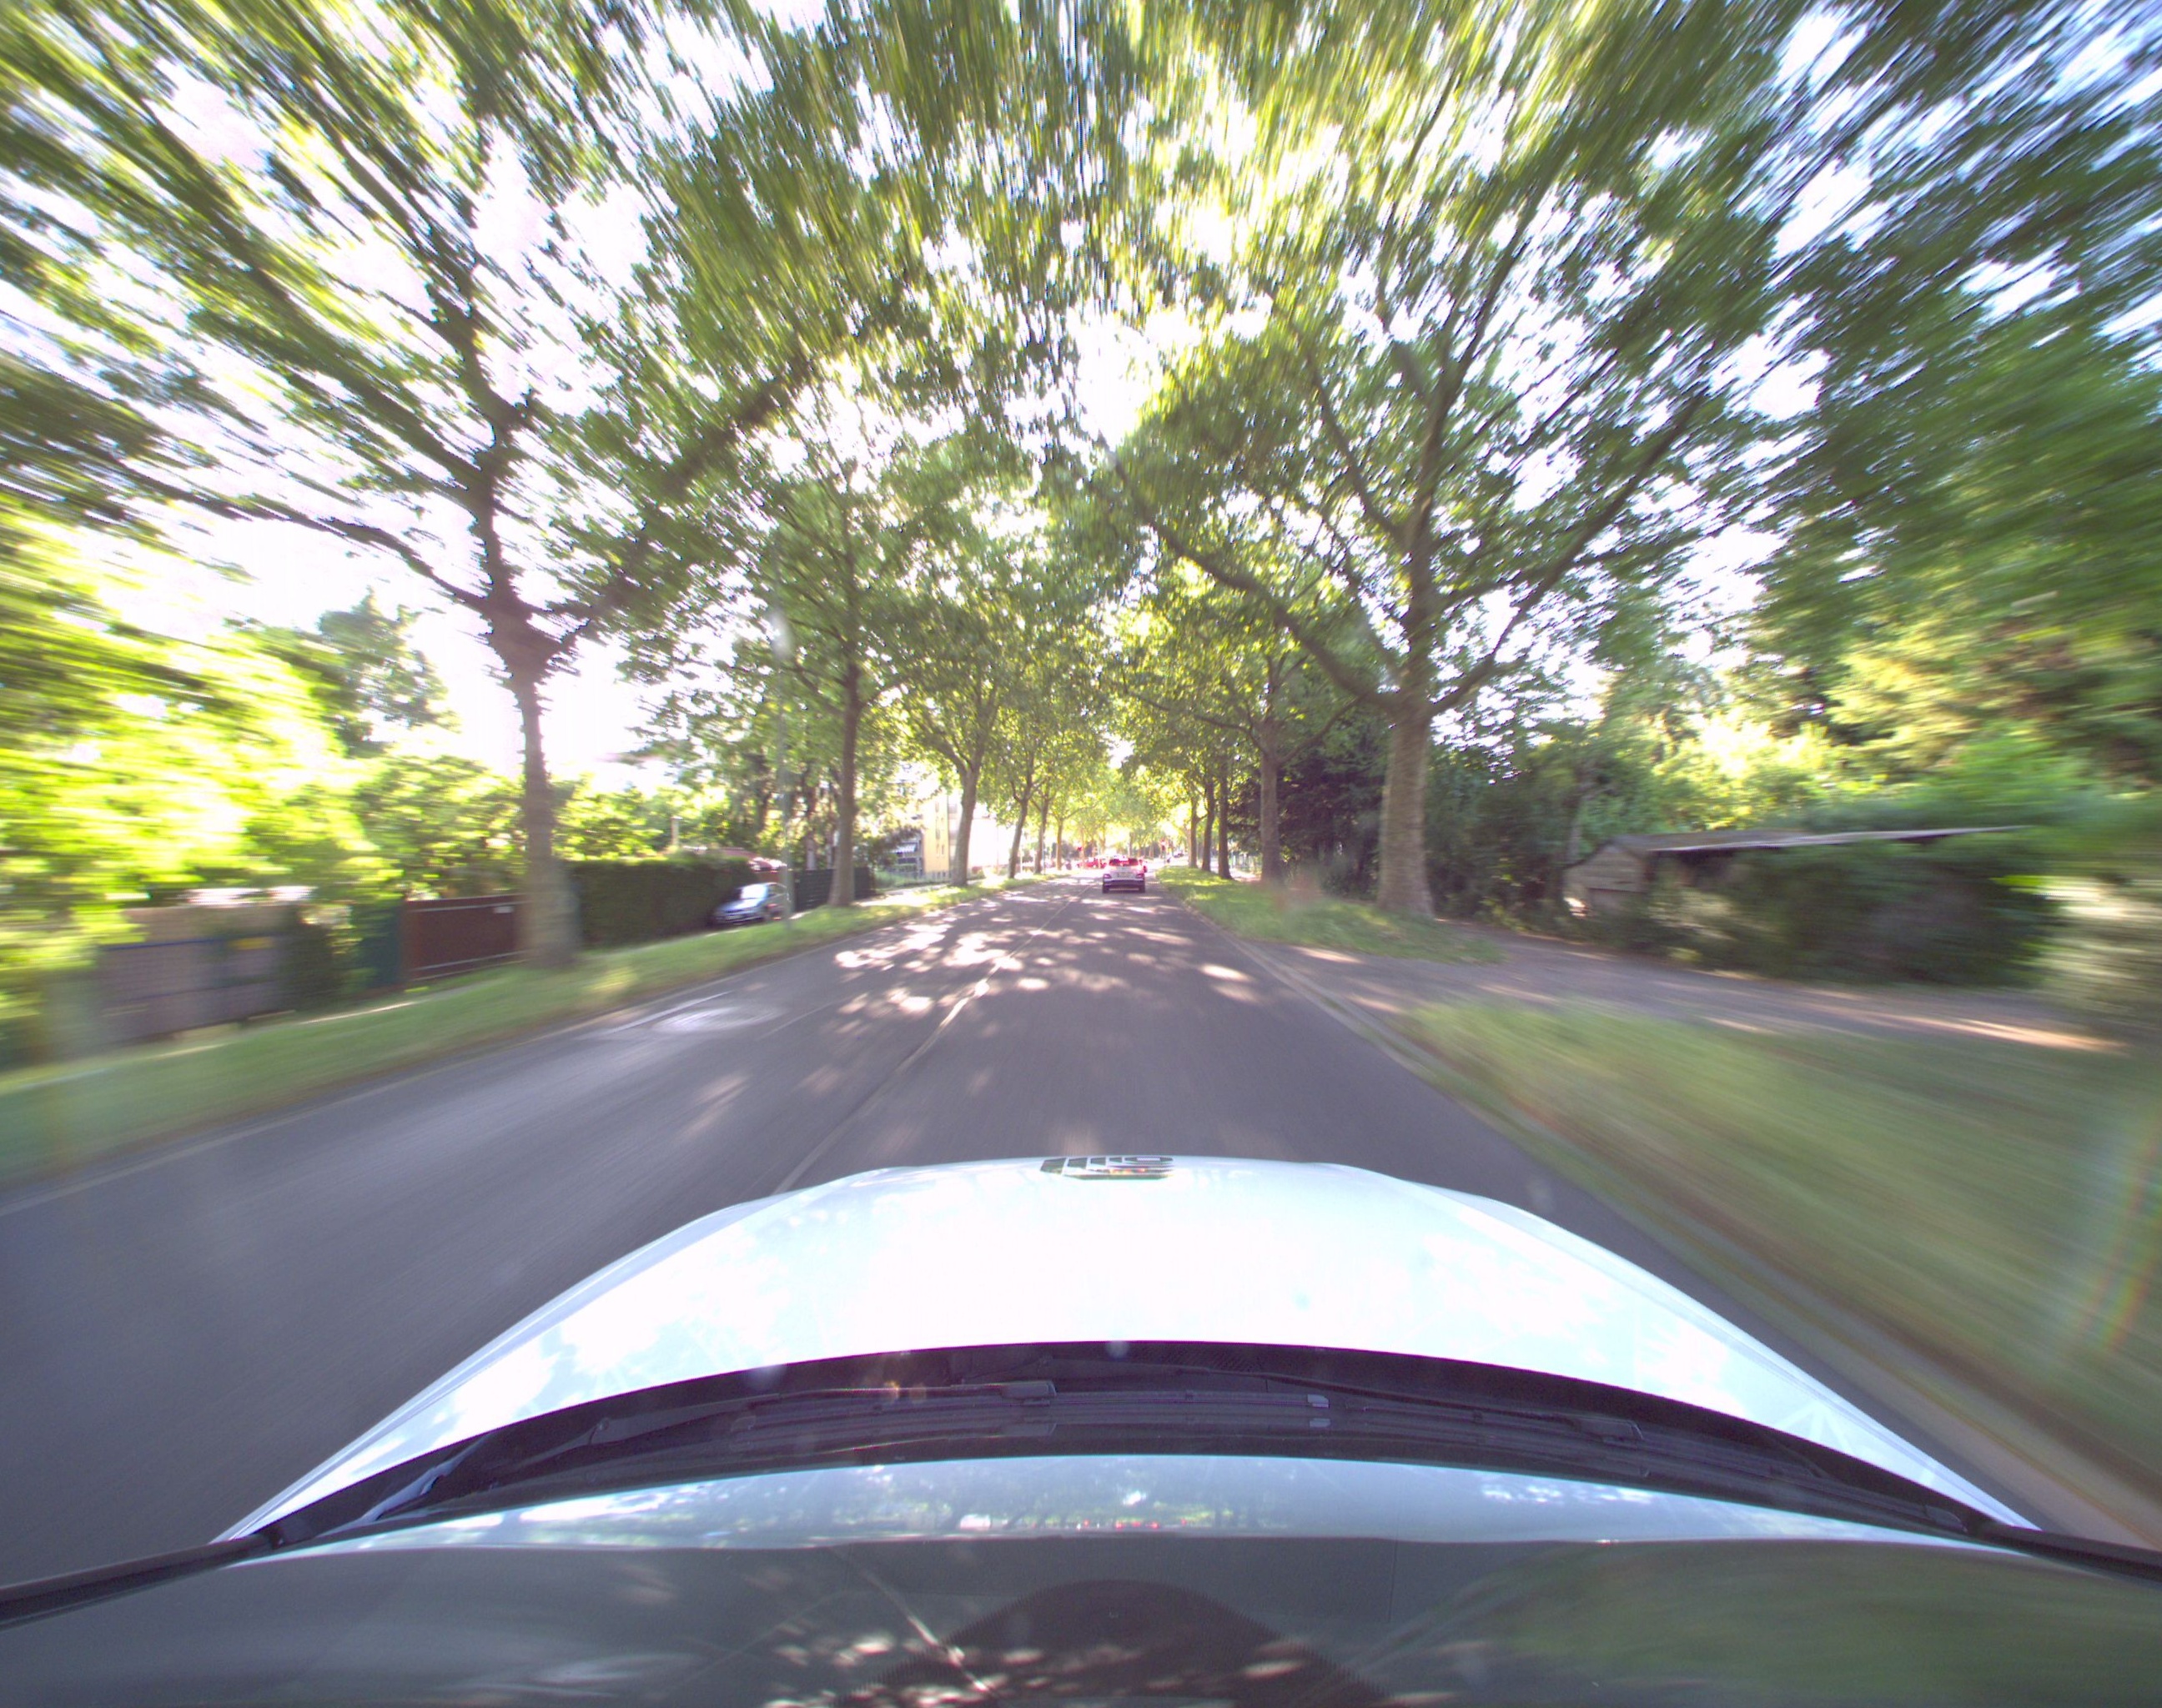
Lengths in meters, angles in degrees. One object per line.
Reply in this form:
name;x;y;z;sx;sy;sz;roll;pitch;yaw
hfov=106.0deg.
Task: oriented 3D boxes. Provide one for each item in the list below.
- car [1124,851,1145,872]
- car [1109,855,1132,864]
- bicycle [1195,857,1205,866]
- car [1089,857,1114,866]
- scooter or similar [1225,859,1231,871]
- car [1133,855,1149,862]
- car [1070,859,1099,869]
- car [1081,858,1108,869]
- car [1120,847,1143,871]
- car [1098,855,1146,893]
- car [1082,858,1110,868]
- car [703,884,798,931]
car;5.213;0.732;79.823;1.985;2.014;4.003;-1;-1;3
car;6.973;0.980;145.181;3.967;1.478;2.003;-1;-1;5
bicycle;15.910;1.066;109.134;0.604;1.183;2.108;0;-1;-14
car;3.308;1.231;130.946;3.967;1.478;2.003;-1;-1;5
scooter or similar;16.276;1.195;90.155;0.546;1.258;2.317;-1;-1;6
car;15.190;1.159;206.802;3.662;1.808;1.746;-1;0;-4
car;0.515;1.445;116.201;3.967;1.478;2.003;-1;-1;5
car;2.014;1.437;123.510;3.967;1.478;2.003;-1;-1;5
car;4.478;0.483;72.217;1.985;2.014;4.004;-1;-1;4
car;1.824;0.855;35.741;1.985;1.574;4.004;-1;-1;4
car;2.334;1.336;125.976;3.964;1.478;2.004;-1;-1;8
car;-11.750;1.850;29.216;1.747;1.304;3.999;-3;1;-1
